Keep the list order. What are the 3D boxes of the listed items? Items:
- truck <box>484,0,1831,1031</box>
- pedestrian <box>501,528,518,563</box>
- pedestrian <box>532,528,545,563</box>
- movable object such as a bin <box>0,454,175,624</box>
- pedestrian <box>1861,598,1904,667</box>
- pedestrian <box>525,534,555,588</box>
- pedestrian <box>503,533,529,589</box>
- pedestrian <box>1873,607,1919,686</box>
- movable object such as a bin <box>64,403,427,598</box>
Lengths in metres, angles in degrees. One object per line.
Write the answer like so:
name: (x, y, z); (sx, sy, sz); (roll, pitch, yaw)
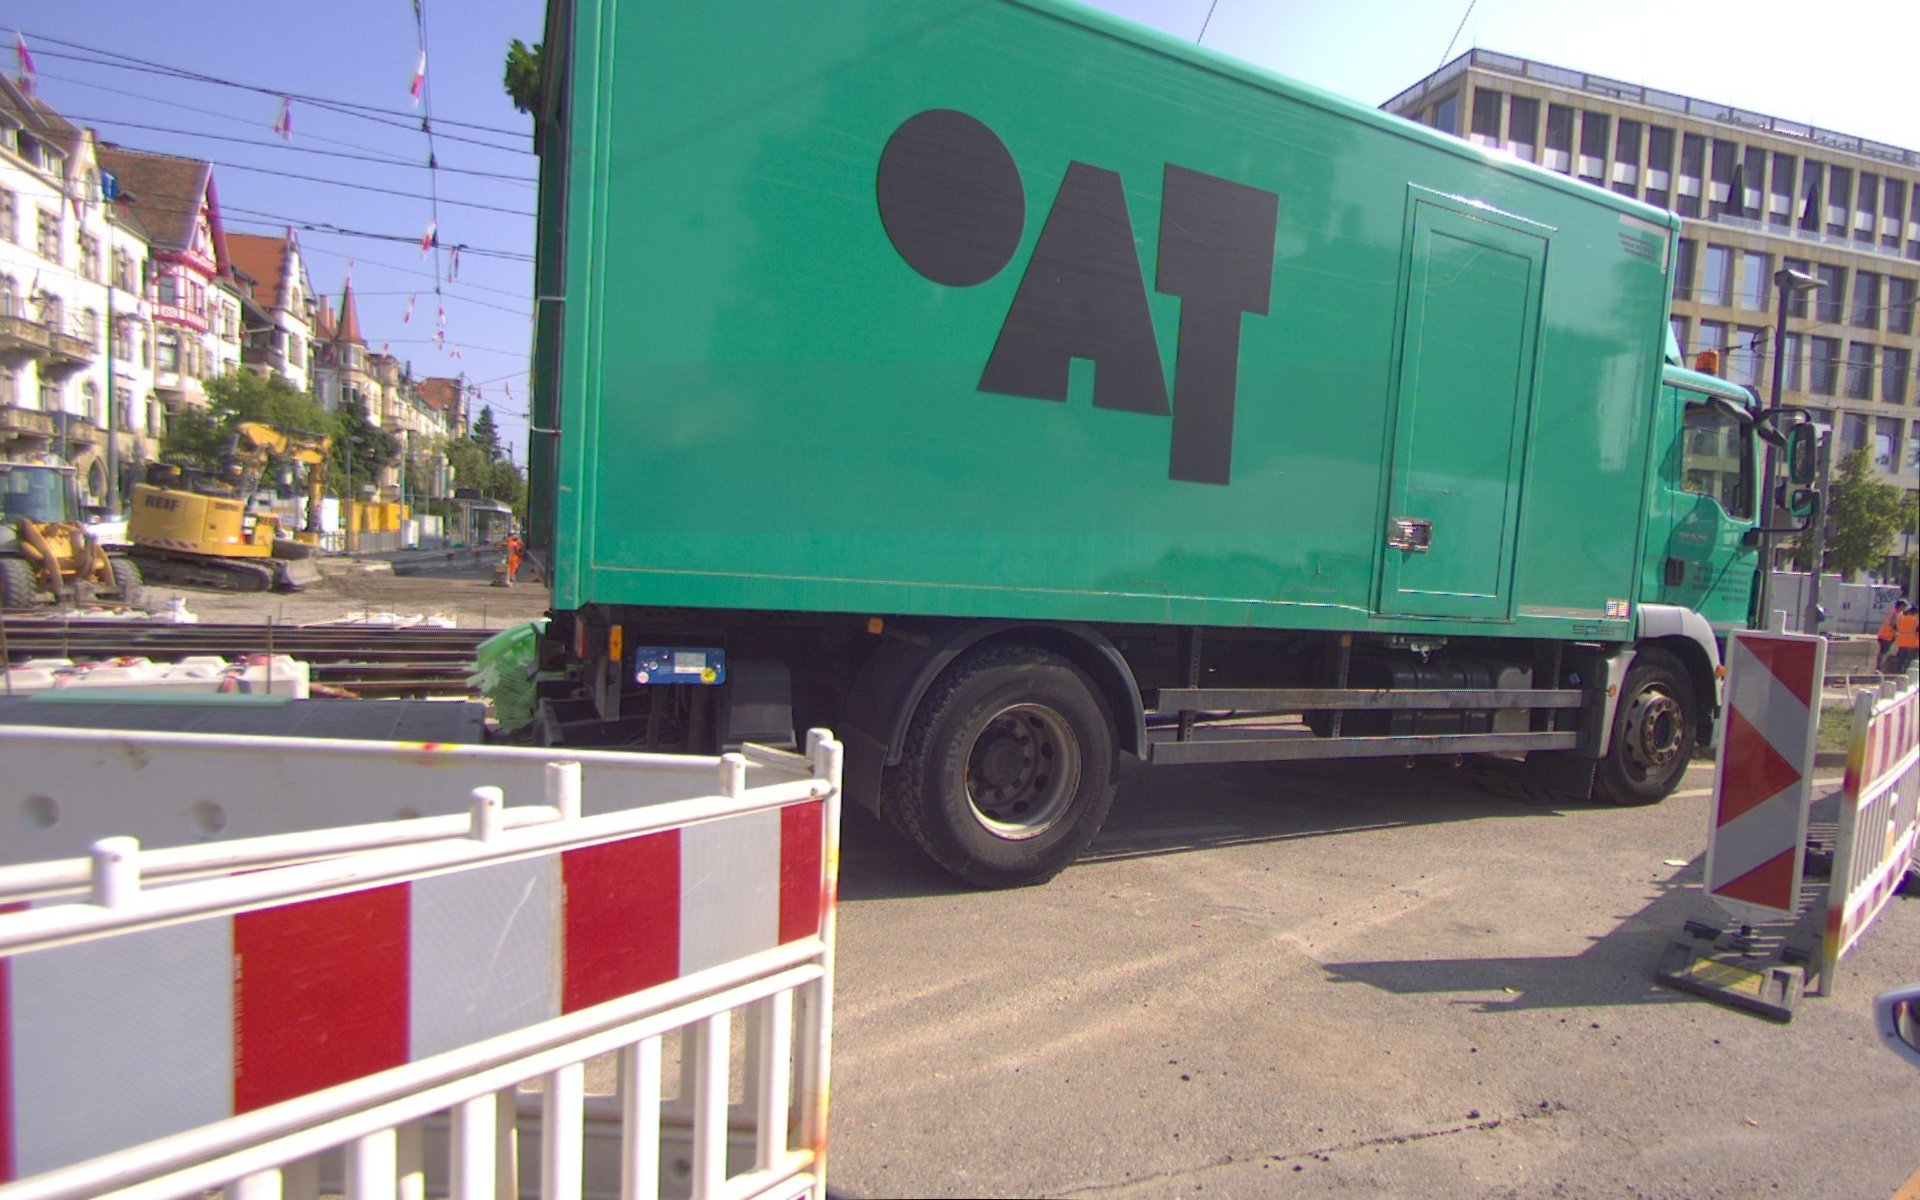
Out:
truck: (1.673, -0.686, 6.306); (8.314, 3.966, 2.780); (0, 4, -29)
pedestrian: (-26.775, -3.259, 59.639); (0.667, 2.041, 0.635); (4, 3, 32)
pedestrian: (-25.550, -3.304, 60.954); (0.627, 2.041, 0.676); (1, 3, -17)
movable object such as a bin: (-17.363, -1.142, 19.319); (4.739, 2.872, 2.440); (4, 2, 37)
pedestrian: (21.833, 0.755, 23.779); (0.622, 1.575, 0.633); (0, 3, -42)
pedestrian: (-16.295, -1.508, 39.018); (0.811, 2.041, 0.669); (3, 3, 7)
pedestrian: (-16.950, -1.507, 38.350); (0.664, 2.092, 0.889); (0, 3, -40)
pedestrian: (20.959, 1.031, 22.294); (0.756, 1.685, 0.669); (2, 2, 17)
movable object such as a bin: (-19.218, -2.488, 27.966); (4.874, 4.405, 7.377); (3, 2, -3)
